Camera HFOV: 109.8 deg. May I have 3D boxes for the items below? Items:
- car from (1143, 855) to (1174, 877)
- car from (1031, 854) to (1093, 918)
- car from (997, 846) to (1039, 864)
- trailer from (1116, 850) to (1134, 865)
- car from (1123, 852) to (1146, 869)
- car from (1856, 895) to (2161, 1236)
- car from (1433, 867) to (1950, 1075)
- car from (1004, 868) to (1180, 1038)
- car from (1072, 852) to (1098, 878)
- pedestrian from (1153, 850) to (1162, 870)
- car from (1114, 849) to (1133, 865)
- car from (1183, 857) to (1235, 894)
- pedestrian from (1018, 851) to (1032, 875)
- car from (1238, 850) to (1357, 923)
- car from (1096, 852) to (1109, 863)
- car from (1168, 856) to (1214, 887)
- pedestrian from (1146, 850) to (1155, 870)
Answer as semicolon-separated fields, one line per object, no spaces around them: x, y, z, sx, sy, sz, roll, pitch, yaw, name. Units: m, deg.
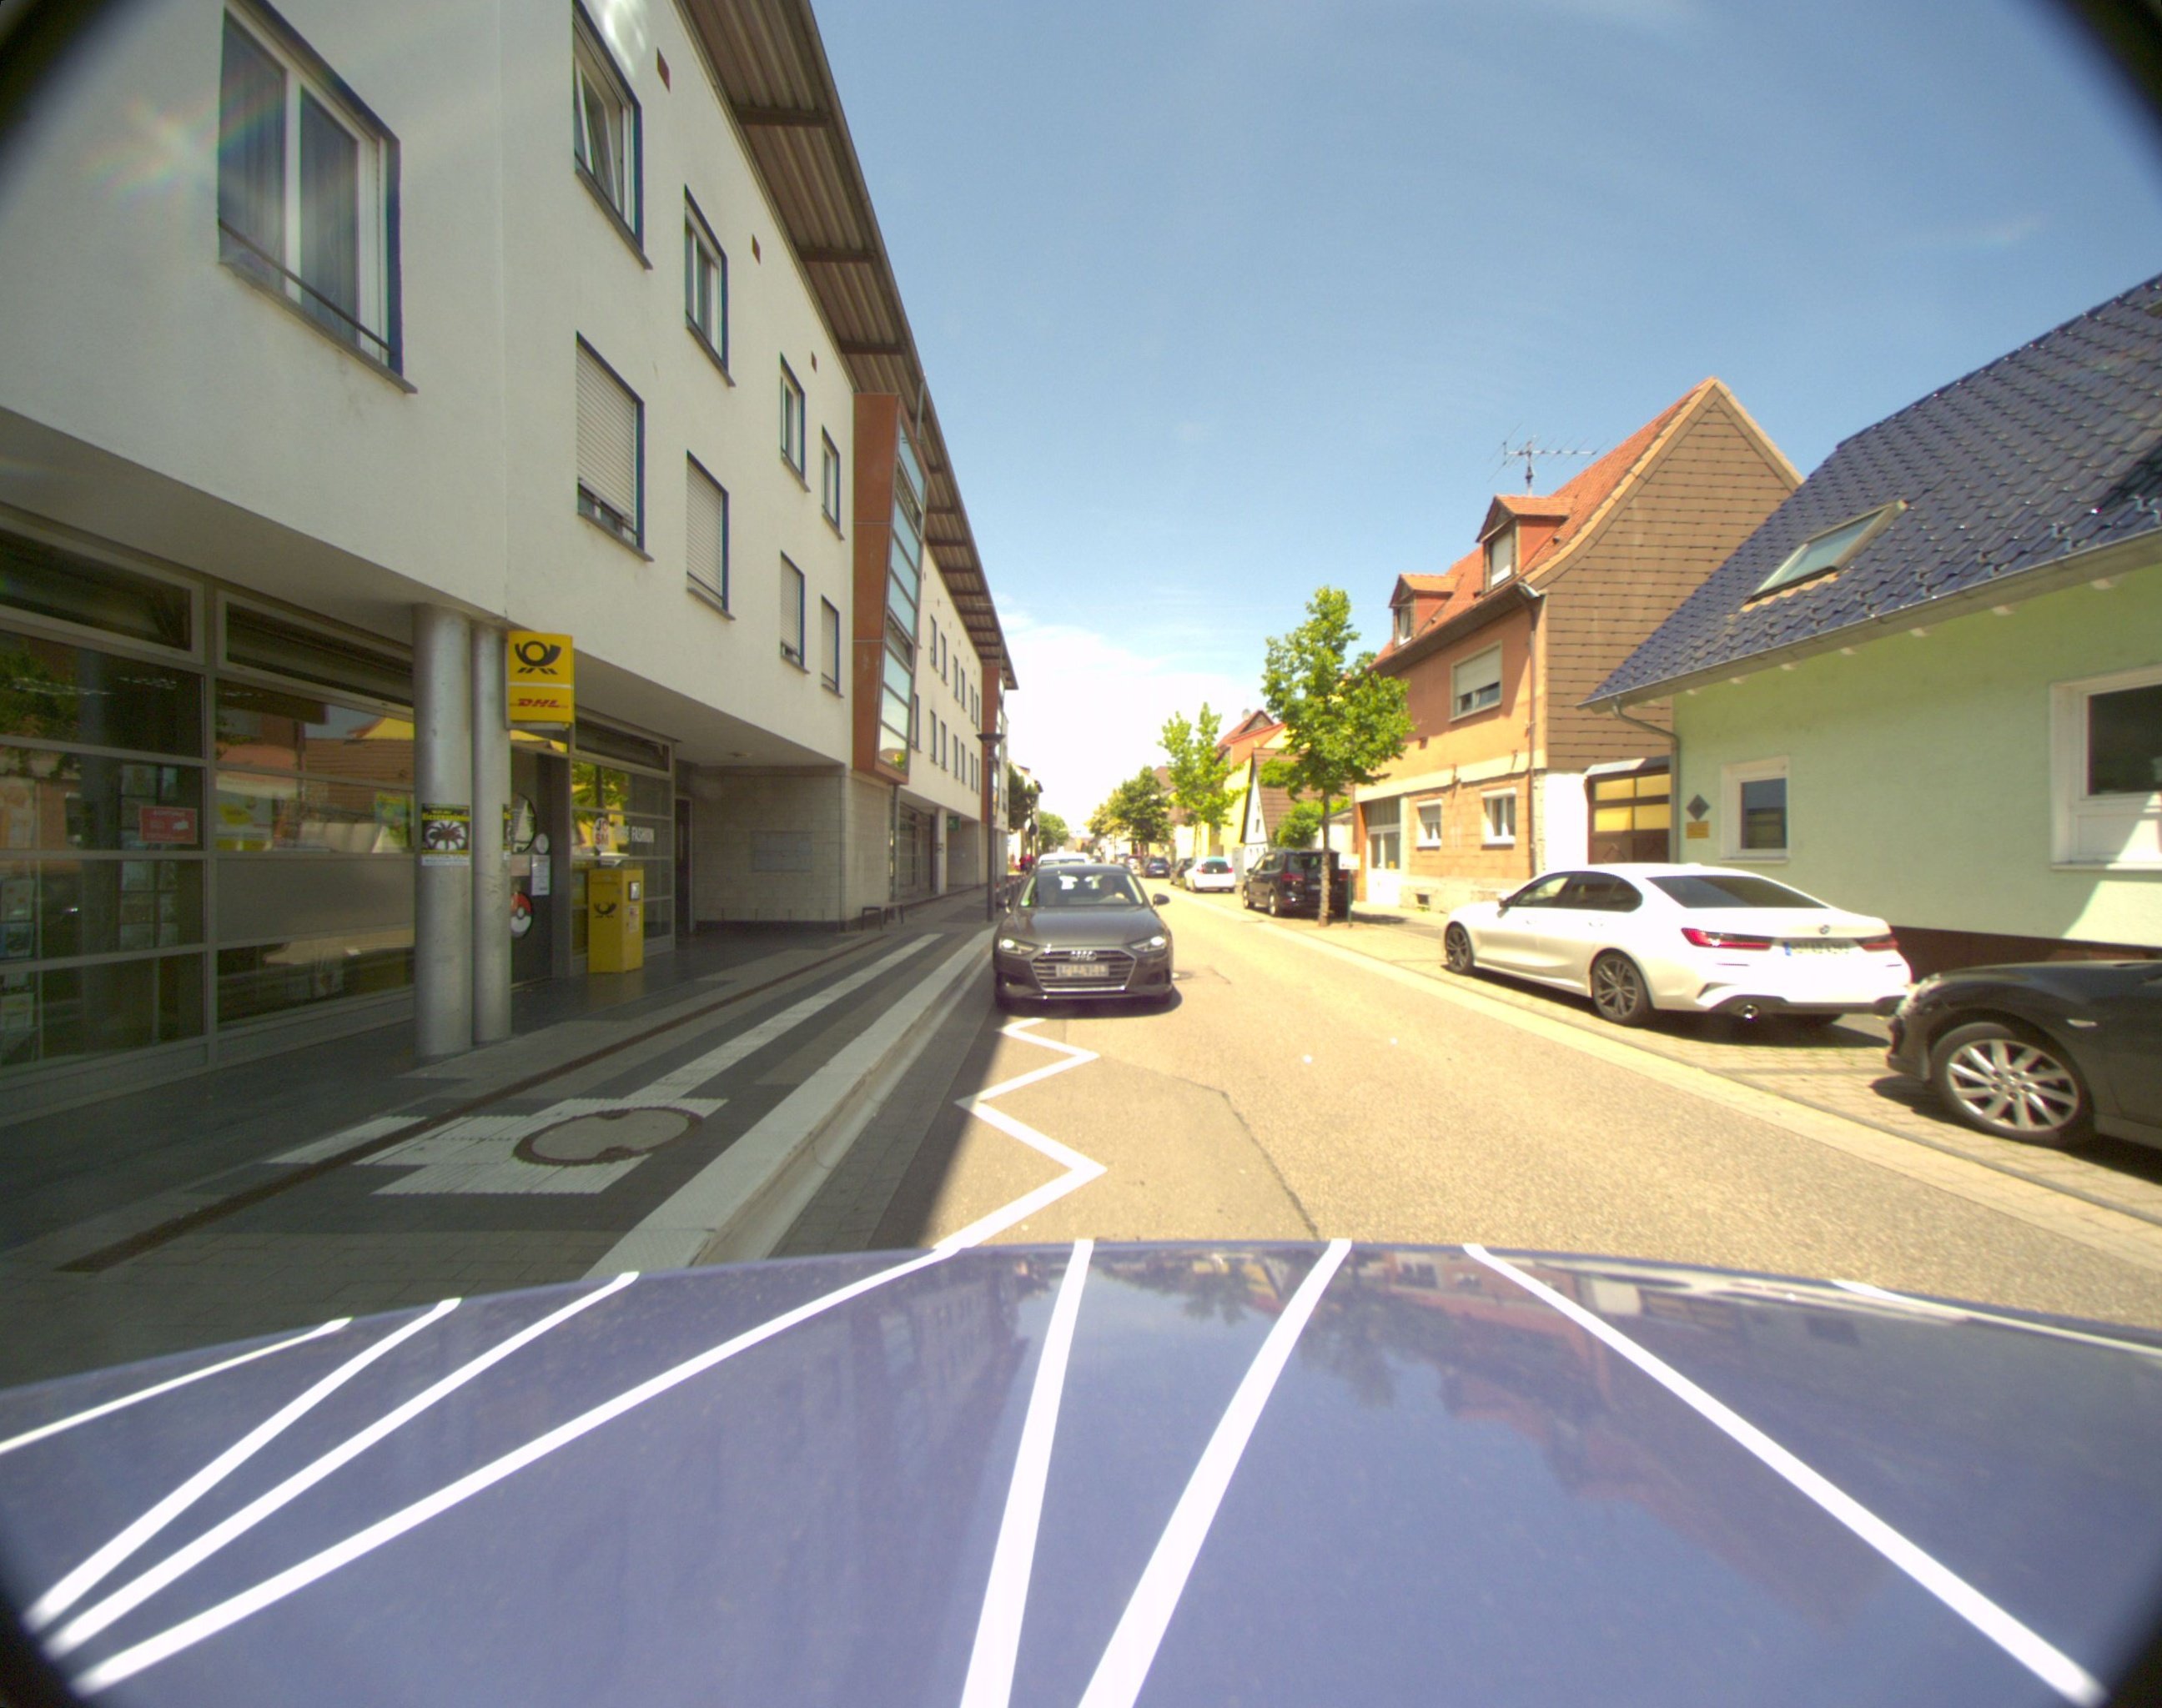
5.138;0.757;50.718;1.660;1.399;4.157;0;0;0;car
-0.509;0.809;21.458;1.581;1.620;4.064;0;0;-1;car
-6.576;0.094;79.149;4.204;1.849;2.000;1;0;-1;car
4.809;0.379;82.823;1.493;1.571;3.882;-3;0;-3;trailer
4.931;0.565;70.311;1.753;1.566;4.157;0;0;0;car
5.613;0.981;2.442;1.665;1.428;4.538;0;0;1;car
5.570;0.905;7.869;1.724;1.428;4.459;-1;0;-1;car
0.071;0.930;8.859;1.581;1.424;4.064;0;0;-1;car
0.215;0.691;49.853;1.581;1.620;4.064;0;0;-1;car
6.027;0.474;59.862;0.631;1.592;0.528;0;1;0;pedestrian
4.850;0.334;86.993;1.695;1.742;3.999;-2;0;-2;car
5.311;0.842;31.789;1.558;1.422;3.409;1;0;0;car
-3.878;0.635;52.531;0.826;1.579;0.919;3;1;0;pedestrian
5.518;0.753;20.012;1.780;1.716;4.519;0;0;-1;car
3.055;0.498;108.341;1.693;1.464;3.999;0;0;-1;car
5.448;0.825;37.931;1.649;1.422;4.098;1;0;0;car
5.379;0.463;58.728;0.631;1.592;0.528;0;1;0;pedestrian
